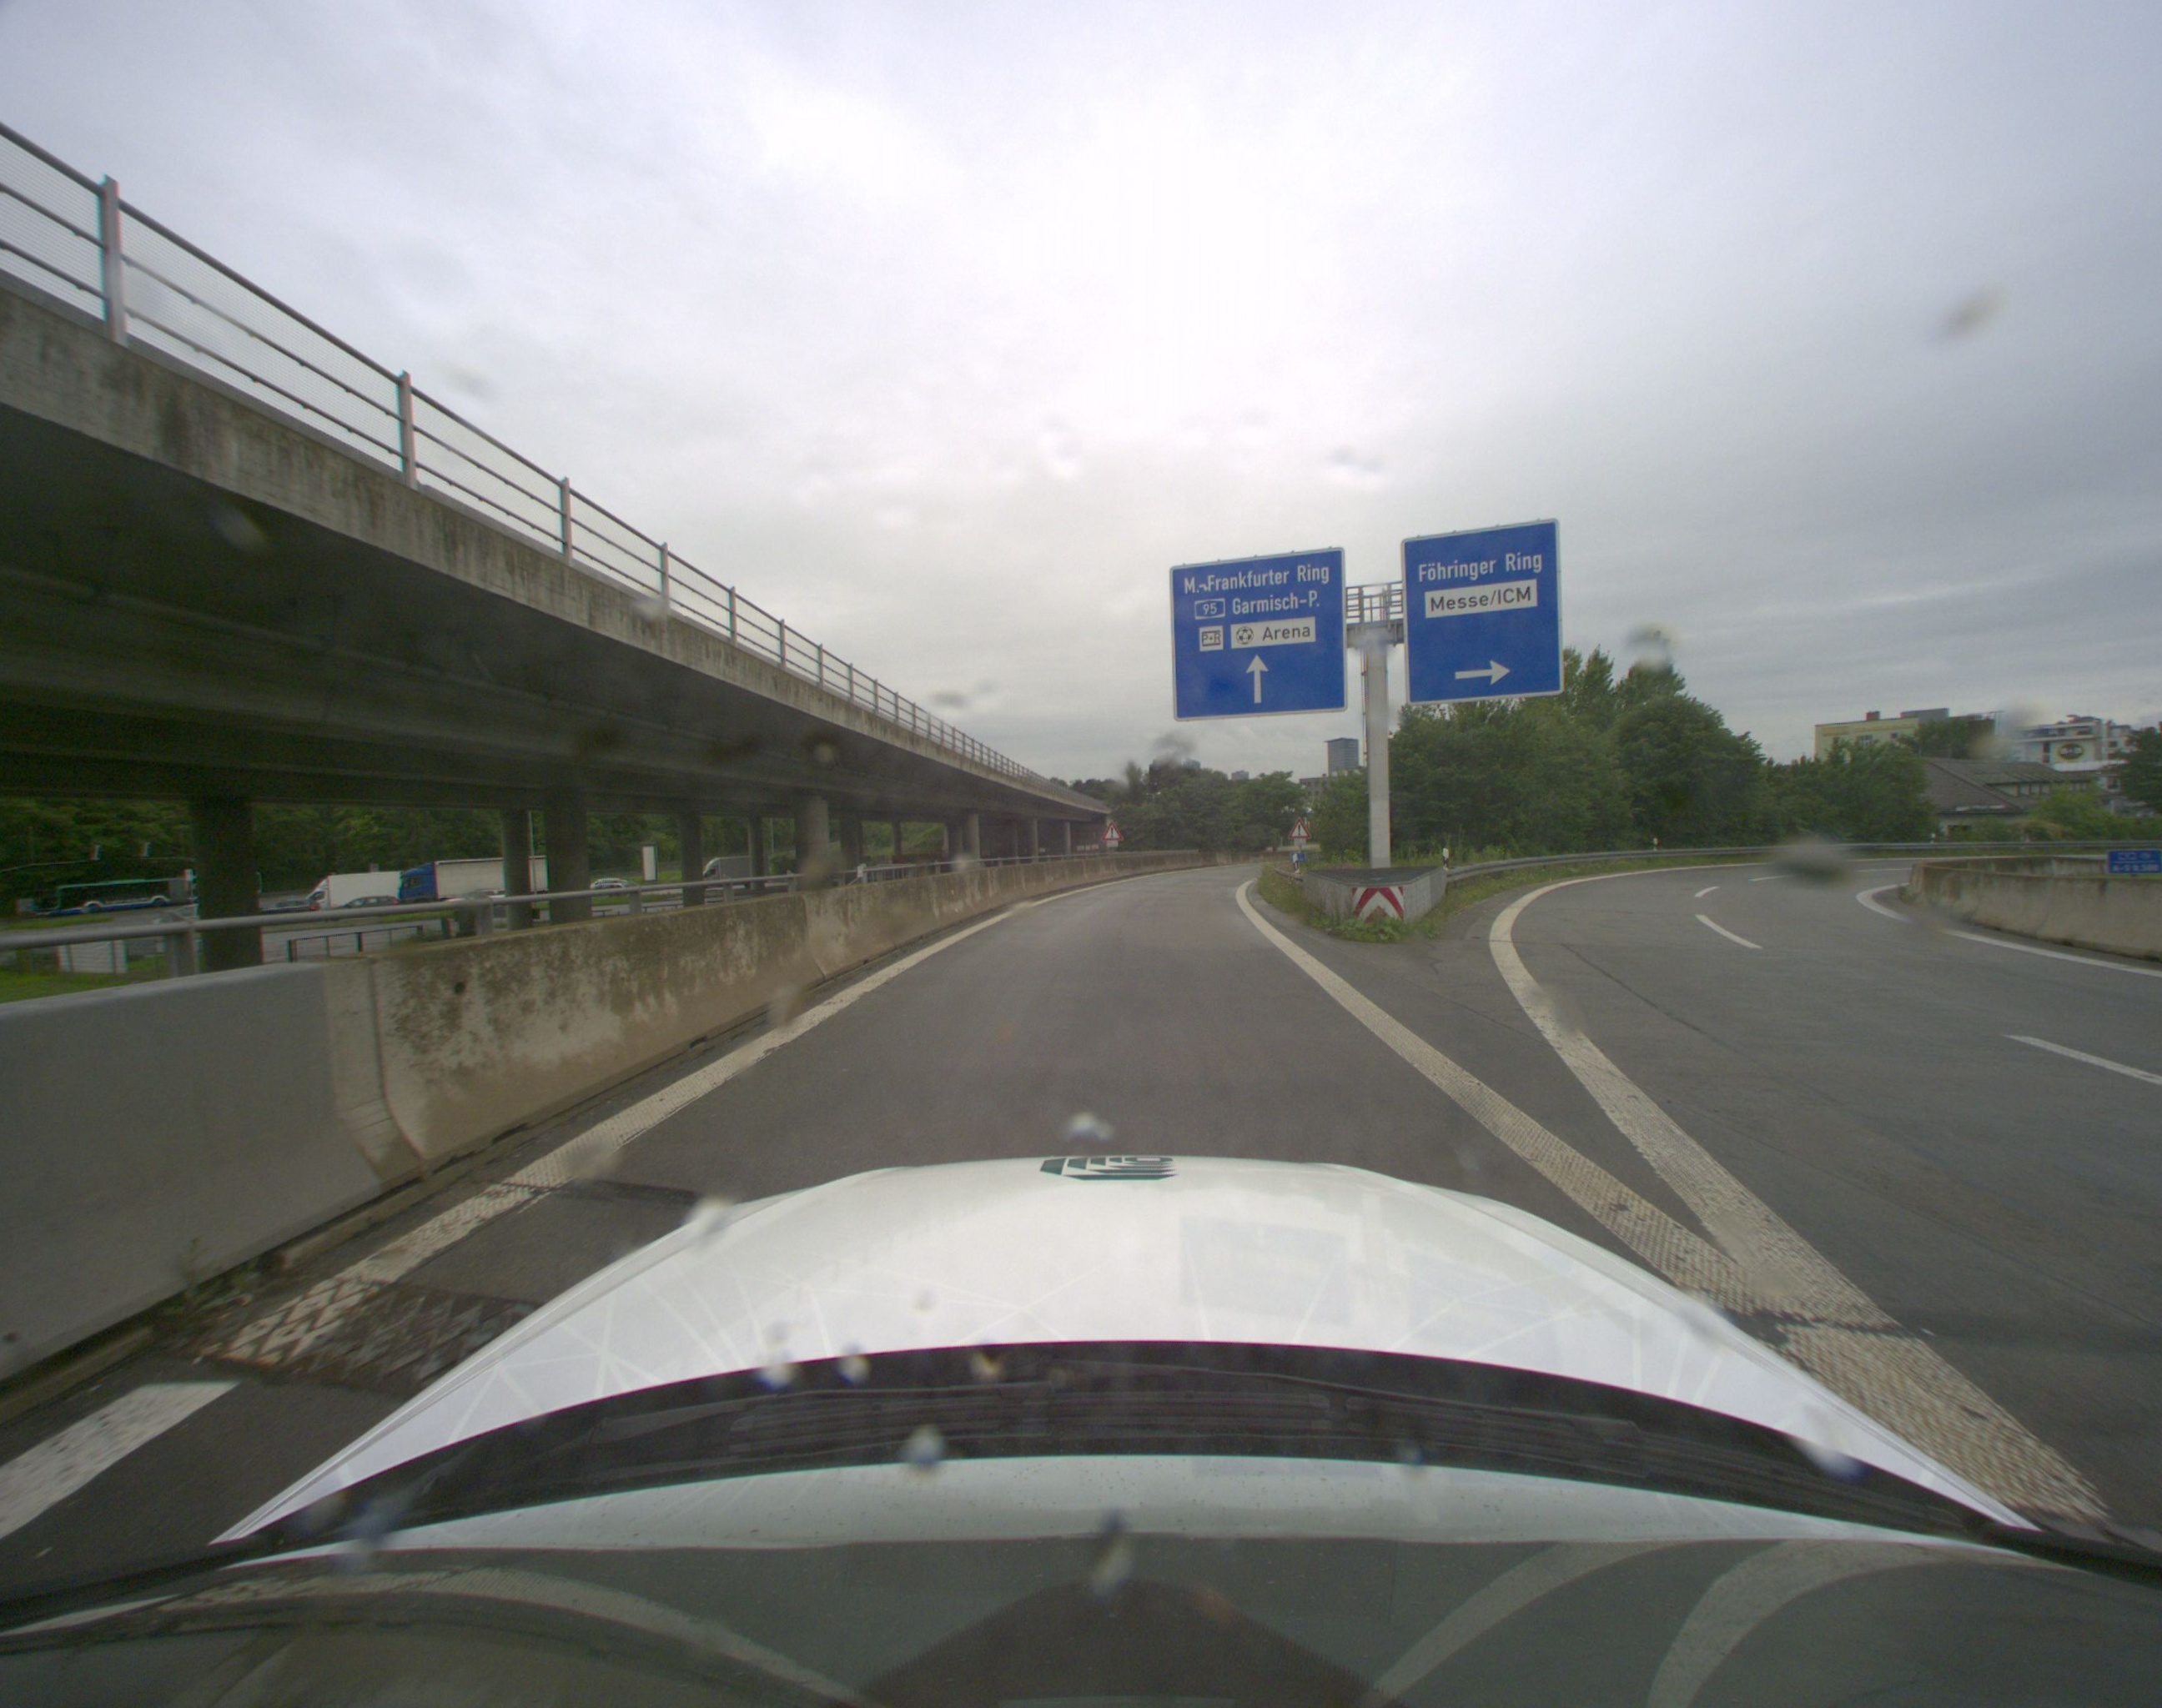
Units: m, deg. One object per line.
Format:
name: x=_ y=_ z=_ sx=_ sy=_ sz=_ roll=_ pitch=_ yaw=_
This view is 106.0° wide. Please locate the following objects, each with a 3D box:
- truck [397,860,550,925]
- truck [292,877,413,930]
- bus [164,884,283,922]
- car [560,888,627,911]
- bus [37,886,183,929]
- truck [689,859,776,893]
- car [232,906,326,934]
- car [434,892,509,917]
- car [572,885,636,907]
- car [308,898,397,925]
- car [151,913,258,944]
truck: x=-48.894 y=3.014 z=66.048 sx=9.641 sy=4.591 sz=2.769 roll=-3 pitch=0 yaw=-34
truck: x=-57.353 y=3.807 z=64.354 sx=6.671 sy=3.679 sz=2.769 roll=-3 pitch=0 yaw=-34
bus: x=-95.885 y=5.360 z=91.392 sx=2.213 sy=3.701 sz=9.925 roll=-1 pitch=-1 yaw=5
car: x=-40.756 y=3.804 z=68.089 sx=4.612 sy=1.583 sz=1.953 roll=-3 pitch=0 yaw=-37
bus: x=-96.745 y=5.253 z=81.511 sx=2.213 sy=3.701 sz=9.925 roll=-1 pitch=-1 yaw=5
truck: x=-32.929 y=2.027 z=76.969 sx=7.259 sy=2.977 sz=2.237 roll=-1 pitch=-1 yaw=-32
car: x=-58.306 y=4.789 z=59.327 sx=4.612 sy=1.606 sz=1.953 roll=-2 pitch=0 yaw=-37
car: x=-47.442 y=3.928 z=63.482 sx=4.612 sy=1.583 sz=1.953 roll=-3 pitch=0 yaw=-37
car: x=-41.554 y=3.644 z=70.980 sx=4.610 sy=1.583 sz=1.954 roll=-3 pitch=0 yaw=-34
car: x=-52.982 y=4.175 z=59.383 sx=4.612 sy=1.583 sz=1.953 roll=-2 pitch=0 yaw=-36
car: x=-59.162 y=4.974 z=55.085 sx=4.612 sy=1.606 sz=1.953 roll=-2 pitch=0 yaw=-37
